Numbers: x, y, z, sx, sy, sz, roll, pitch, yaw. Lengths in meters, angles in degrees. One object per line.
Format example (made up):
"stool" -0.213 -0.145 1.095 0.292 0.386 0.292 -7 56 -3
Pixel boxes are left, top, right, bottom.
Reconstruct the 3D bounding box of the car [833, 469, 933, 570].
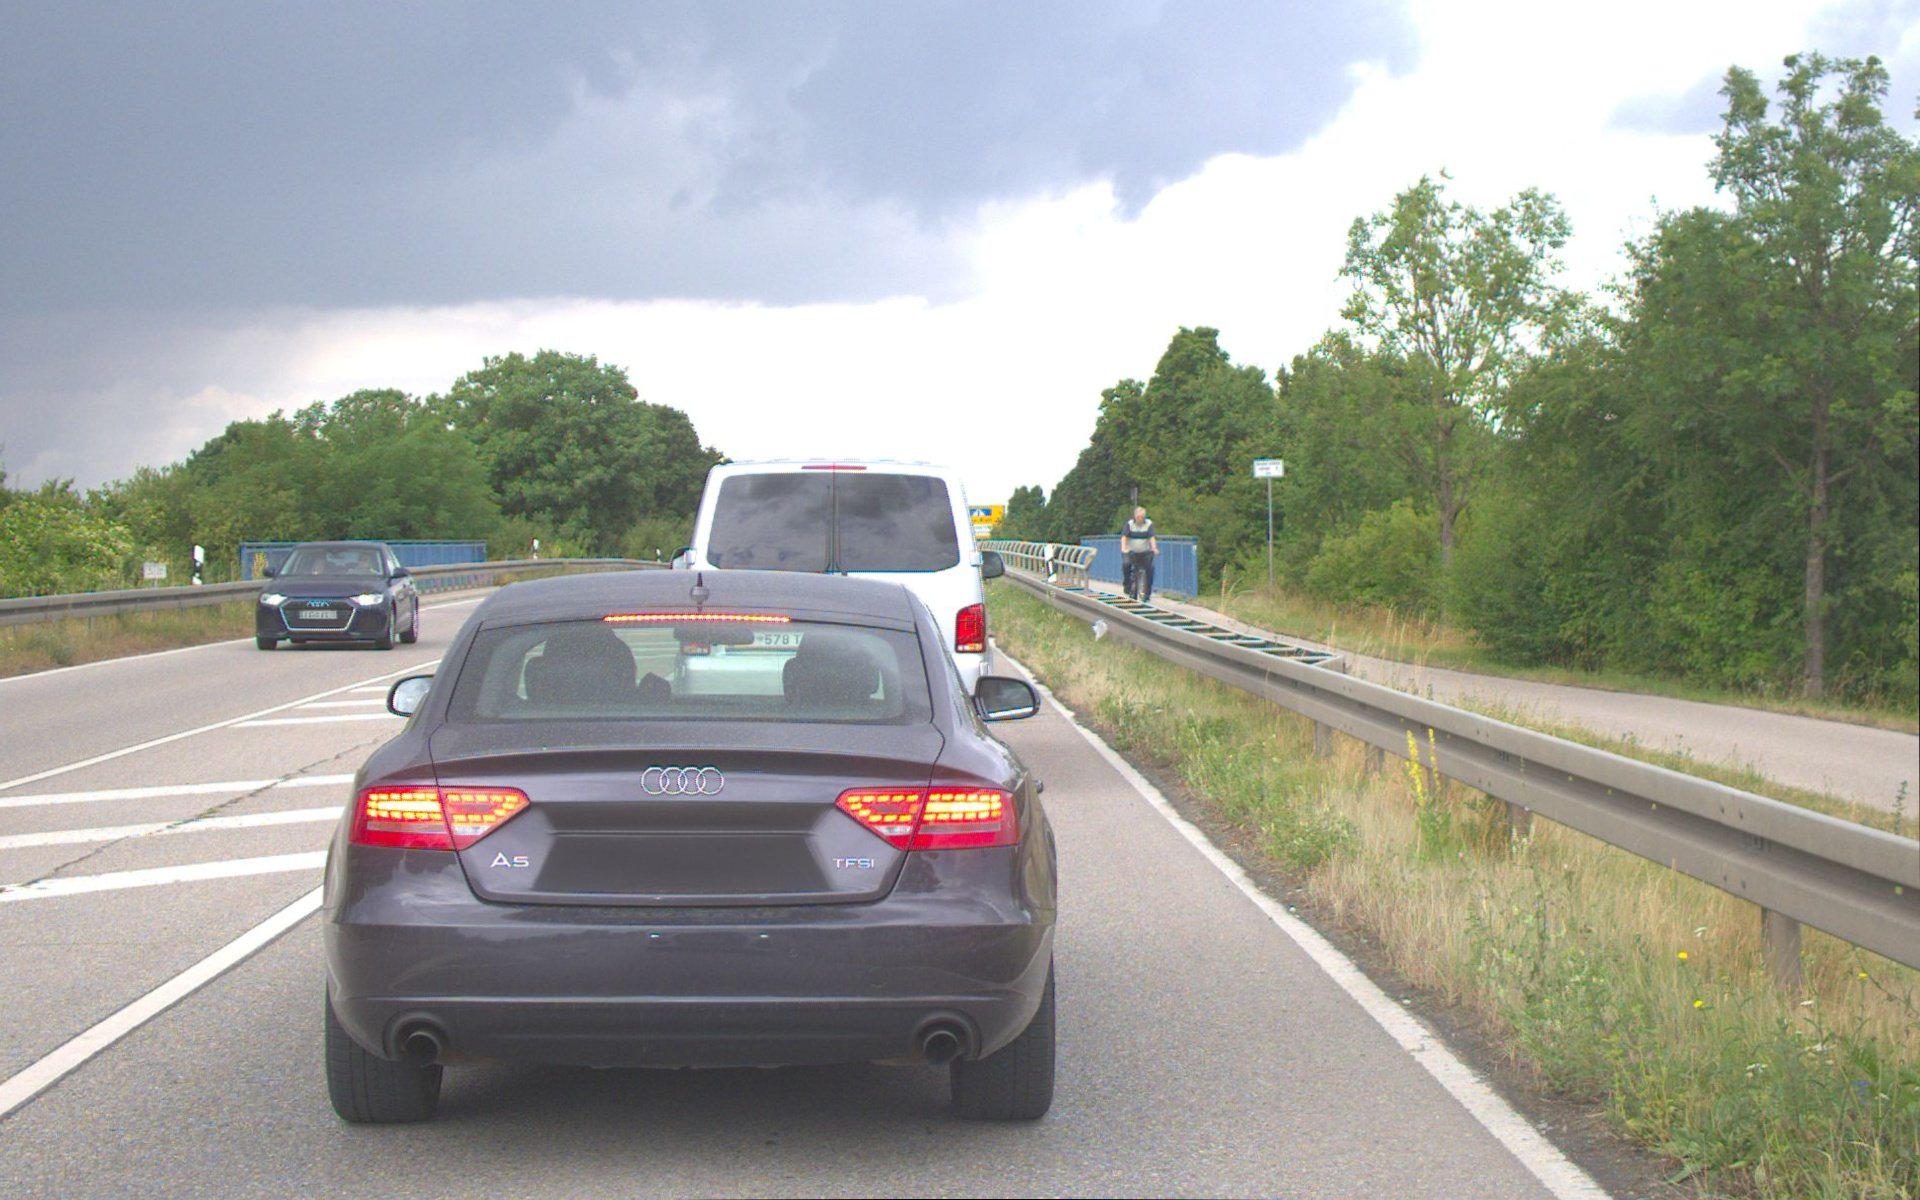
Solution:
"car" -1.958 -2.058 88.086 2.447 2.495 5.042 1 1 -1

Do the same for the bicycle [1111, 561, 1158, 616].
"bicycle" 2.986 -0.206 59.056 0.666 0.917 1.830 -1 1 -1

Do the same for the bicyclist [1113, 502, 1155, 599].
"bicyclist" 2.978 -0.848 58.929 0.647 1.639 0.866 -1 1 -1

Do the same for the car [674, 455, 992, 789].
"car" -0.772 0.106 21.575 1.785 1.883 4.000 1 1 -1

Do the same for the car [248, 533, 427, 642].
"car" -8.215 -0.200 45.663 1.862 1.371 4.001 0 1 -3

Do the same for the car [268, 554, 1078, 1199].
"car" -0.685 0.597 9.661 1.785 1.419 4.000 1 1 -1
